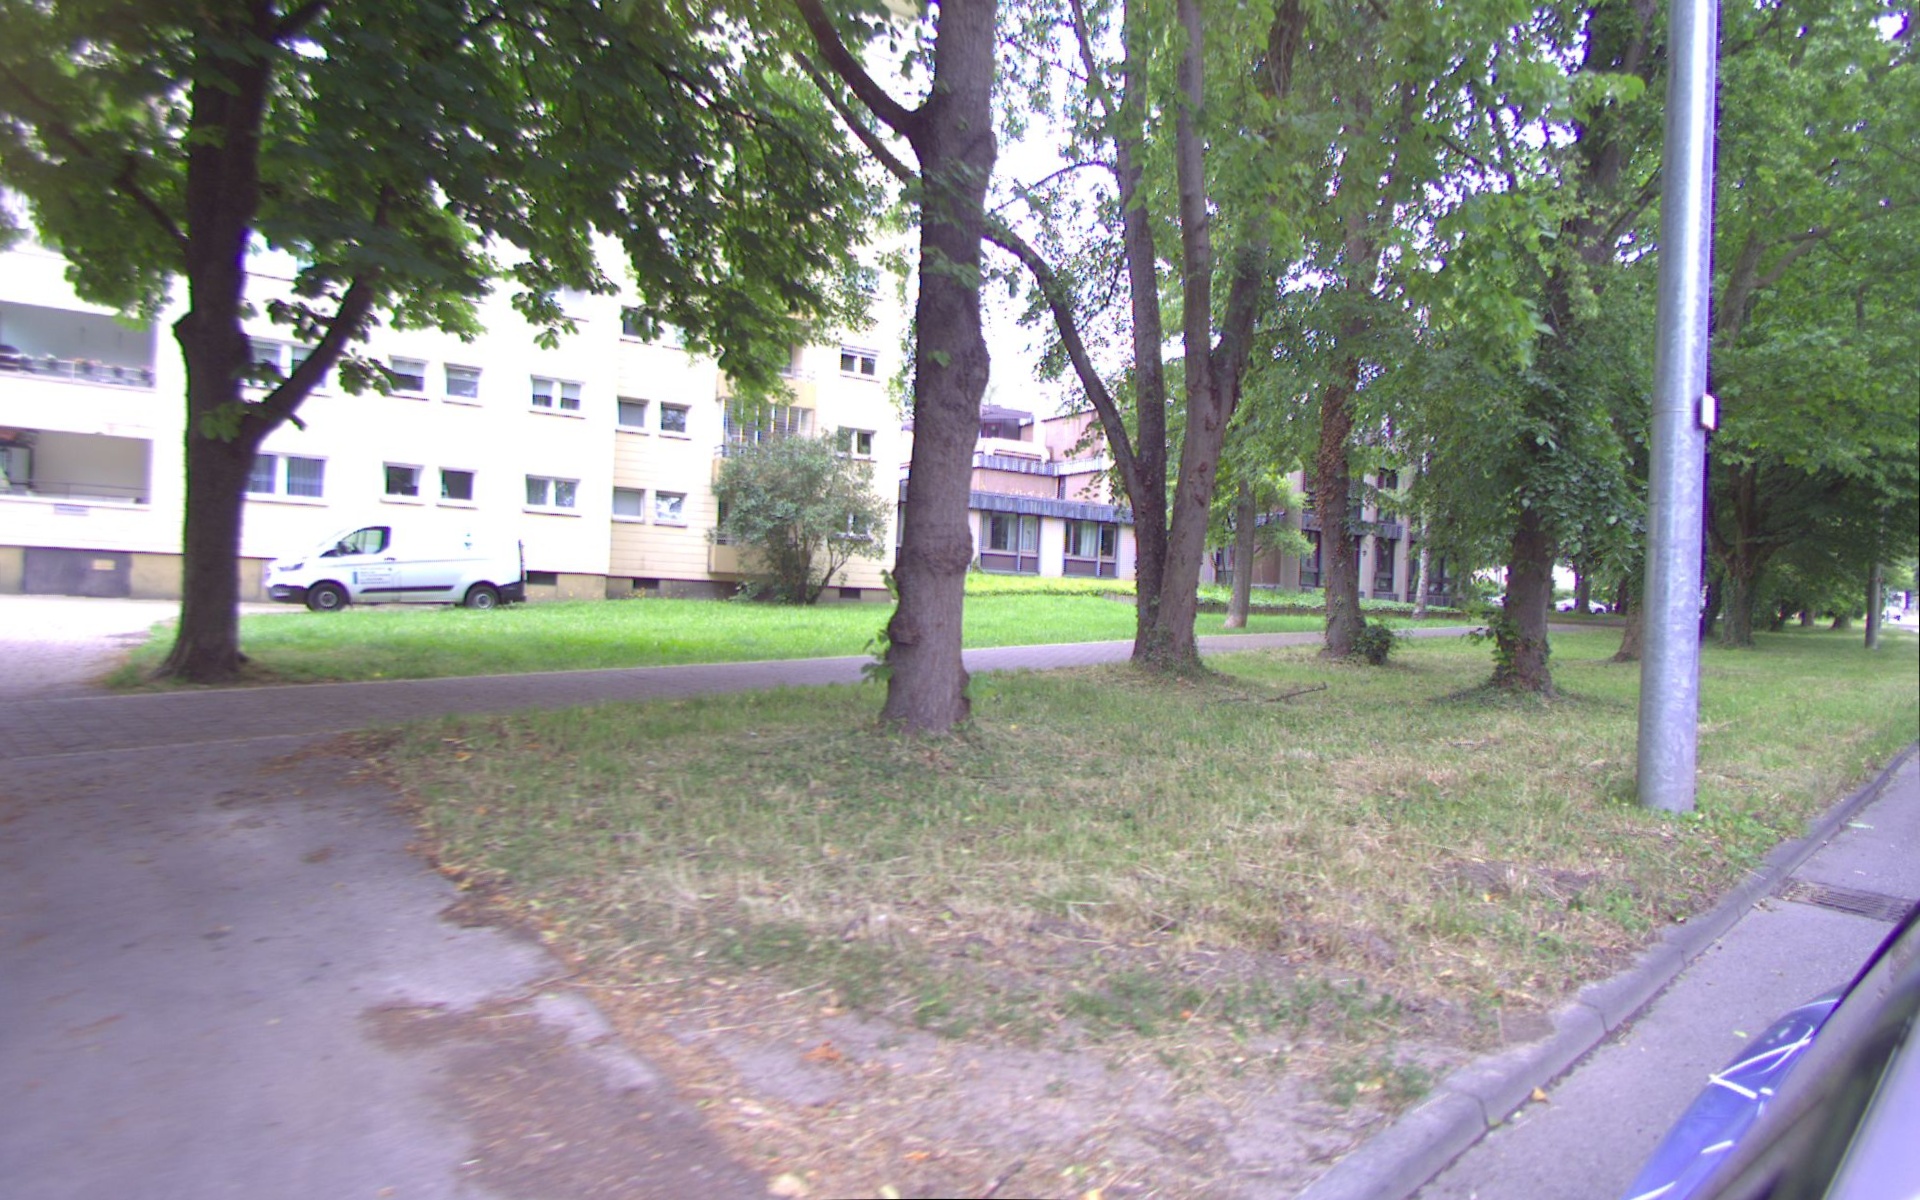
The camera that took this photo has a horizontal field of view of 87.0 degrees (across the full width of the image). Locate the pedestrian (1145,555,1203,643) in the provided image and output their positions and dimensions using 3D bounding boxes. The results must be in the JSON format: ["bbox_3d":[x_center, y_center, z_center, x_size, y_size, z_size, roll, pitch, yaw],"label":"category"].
[{"bbox_3d":[4.300,-0.029,20.339,0.768,1.707,0.801,4,2,44],"label":"pedestrian"}]

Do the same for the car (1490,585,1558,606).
[{"bbox_3d":[46.307,-0.369,83.104,4.514,1.529,1.801,2,1,-2],"label":"car"}]

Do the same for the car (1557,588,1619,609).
[{"bbox_3d":[51.628,-0.151,83.233,3.928,1.529,1.798,2,1,4],"label":"car"}]

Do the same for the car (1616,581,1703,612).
[{"bbox_3d":[57.103,-0.321,82.726,5.241,2.328,2.286,2,0,10],"label":"car"}]

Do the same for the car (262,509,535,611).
[{"bbox_3d":[-12.071,-0.816,21.907,4.874,1.865,2.093,2,2,-37],"label":"car"}]
